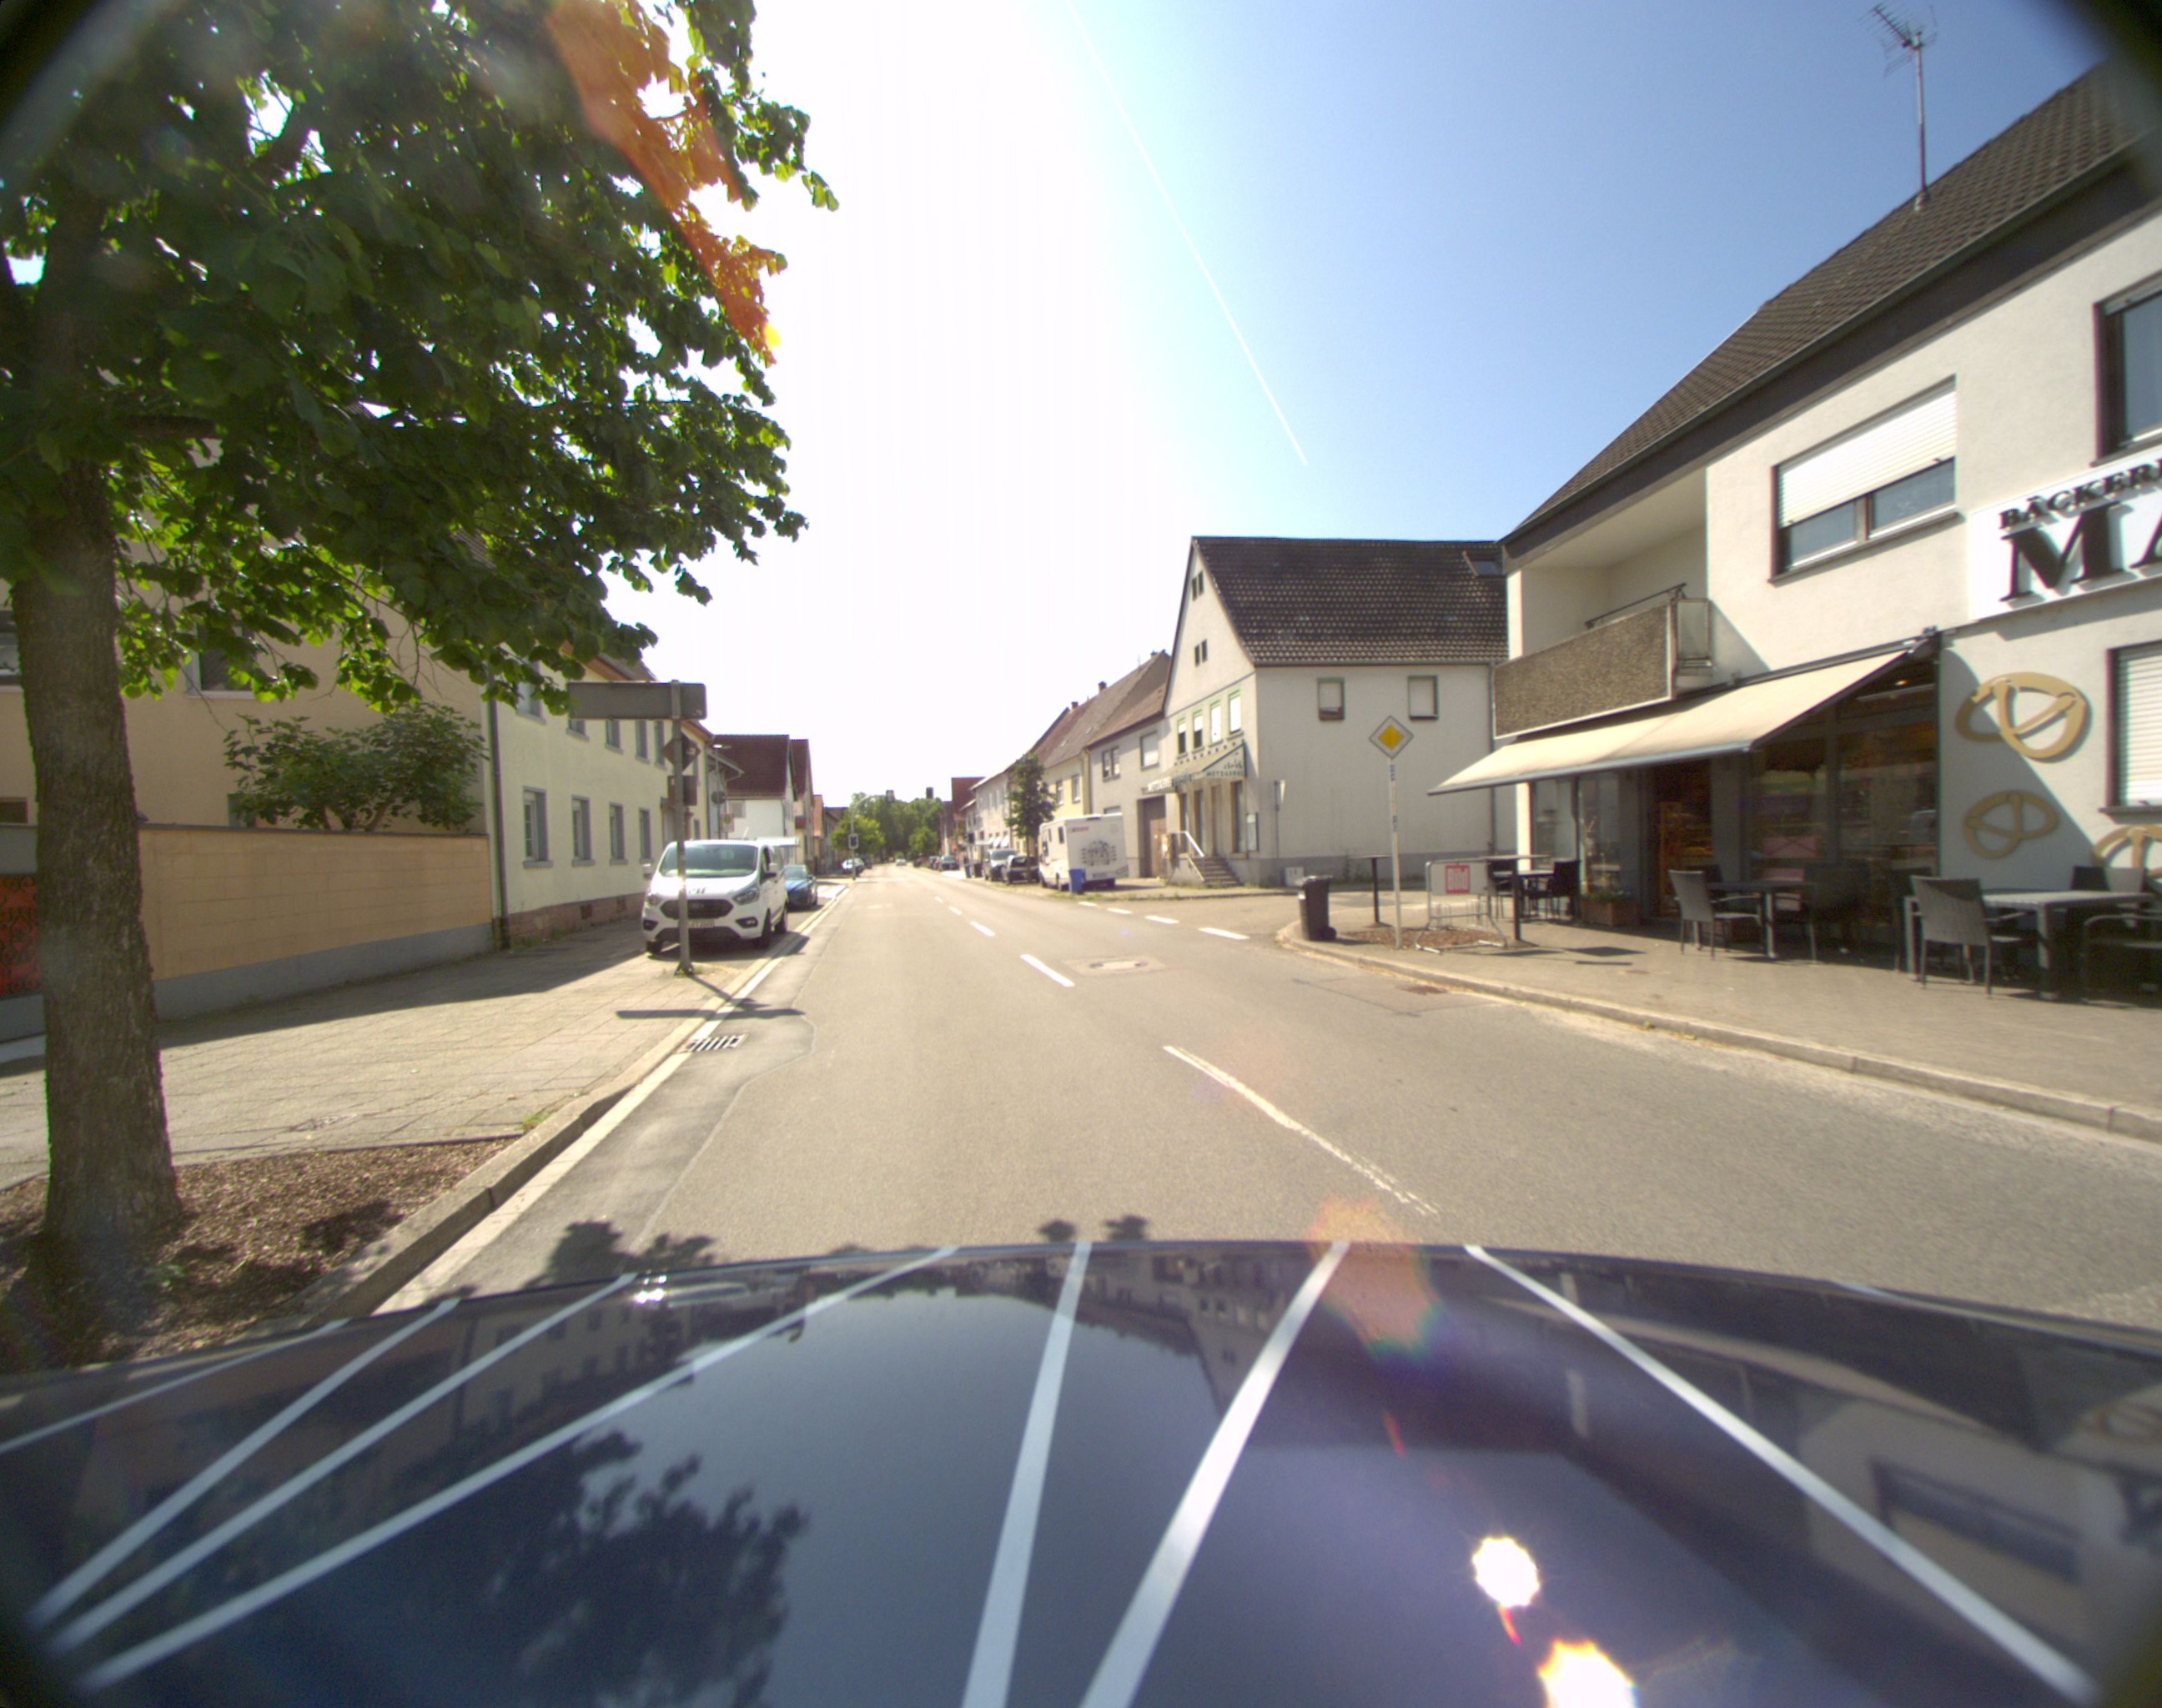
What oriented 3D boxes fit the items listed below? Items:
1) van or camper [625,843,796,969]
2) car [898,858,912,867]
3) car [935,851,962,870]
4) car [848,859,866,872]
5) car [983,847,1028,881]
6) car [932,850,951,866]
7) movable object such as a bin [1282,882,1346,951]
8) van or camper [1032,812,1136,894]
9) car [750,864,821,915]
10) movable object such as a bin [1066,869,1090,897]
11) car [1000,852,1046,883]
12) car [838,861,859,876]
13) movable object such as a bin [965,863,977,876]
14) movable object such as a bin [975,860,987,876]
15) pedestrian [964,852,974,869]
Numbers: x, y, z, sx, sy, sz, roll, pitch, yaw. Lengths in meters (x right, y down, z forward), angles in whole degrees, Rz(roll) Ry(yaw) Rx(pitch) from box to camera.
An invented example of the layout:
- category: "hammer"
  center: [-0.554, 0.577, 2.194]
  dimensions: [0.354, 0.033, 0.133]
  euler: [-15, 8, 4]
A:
- category: "van or camper"
  center: [-6.890, 0.813, 14.787]
  dimensions: [2.001, 1.942, 5.338]
  euler: [-1, 0, -16]
- category: "car"
  center: [-31.602, 1.525, 136.556]
  dimensions: [2.000, 1.521, 3.997]
  euler: [-3, 1, -8]
- category: "car"
  center: [-13.402, 0.635, 76.818]
  dimensions: [2.358, 1.837, 4.950]
  euler: [-2, 1, -13]
- category: "car"
  center: [-27.506, 1.413, 93.479]
  dimensions: [2.001, 1.477, 3.994]
  euler: [-3, 1, -16]
- category: "car"
  center: [-4.594, 0.571, 45.559]
  dimensions: [2.001, 1.837, 4.950]
  euler: [-3, 1, -13]
- category: "car"
  center: [-16.999, 0.524, 92.545]
  dimensions: [2.001, 1.837, 4.950]
  euler: [-2, 1, -13]
- category: "movable object such as a bin"
  center: [3.378, 0.888, 11.050]
  dimensions: [0.645, 0.919, 0.613]
  euler: [-3, 1, -15]
- category: "van or camper"
  center: [-0.085, -0.057, 31.068]
  dimensions: [2.455, 2.888, 7.058]
  euler: [-3, 1, -14]
- category: "car"
  center: [-9.581, 1.100, 24.854]
  dimensions: [1.735, 1.419, 3.980]
  euler: [-2, 1, -16]
- category: "movable object such as a bin"
  center: [-0.103, 0.959, 25.283]
  dimensions: [0.645, 0.867, 0.613]
  euler: [-3, 1, -15]
- category: "car"
  center: [-3.099, 0.689, 39.989]
  dimensions: [1.691, 1.474, 3.613]
  euler: [-3, 1, -15]
- category: "car"
  center: [-25.424, 1.568, 83.187]
  dimensions: [2.001, 1.477, 3.994]
  euler: [-3, 1, -16]
- category: "movable object such as a bin"
  center: [-7.809, 1.099, 54.095]
  dimensions: [0.719, 0.907, 0.549]
  euler: [-3, 1, -17]
- category: "movable object such as a bin"
  center: [-6.942, 0.951, 52.897]
  dimensions: [0.719, 1.060, 0.549]
  euler: [-3, 1, -17]
- category: "pedestrian"
  center: [-9.940, 0.590, 67.547]
  dimensions: [0.753, 1.523, 0.580]
  euler: [-3, 1, -16]
